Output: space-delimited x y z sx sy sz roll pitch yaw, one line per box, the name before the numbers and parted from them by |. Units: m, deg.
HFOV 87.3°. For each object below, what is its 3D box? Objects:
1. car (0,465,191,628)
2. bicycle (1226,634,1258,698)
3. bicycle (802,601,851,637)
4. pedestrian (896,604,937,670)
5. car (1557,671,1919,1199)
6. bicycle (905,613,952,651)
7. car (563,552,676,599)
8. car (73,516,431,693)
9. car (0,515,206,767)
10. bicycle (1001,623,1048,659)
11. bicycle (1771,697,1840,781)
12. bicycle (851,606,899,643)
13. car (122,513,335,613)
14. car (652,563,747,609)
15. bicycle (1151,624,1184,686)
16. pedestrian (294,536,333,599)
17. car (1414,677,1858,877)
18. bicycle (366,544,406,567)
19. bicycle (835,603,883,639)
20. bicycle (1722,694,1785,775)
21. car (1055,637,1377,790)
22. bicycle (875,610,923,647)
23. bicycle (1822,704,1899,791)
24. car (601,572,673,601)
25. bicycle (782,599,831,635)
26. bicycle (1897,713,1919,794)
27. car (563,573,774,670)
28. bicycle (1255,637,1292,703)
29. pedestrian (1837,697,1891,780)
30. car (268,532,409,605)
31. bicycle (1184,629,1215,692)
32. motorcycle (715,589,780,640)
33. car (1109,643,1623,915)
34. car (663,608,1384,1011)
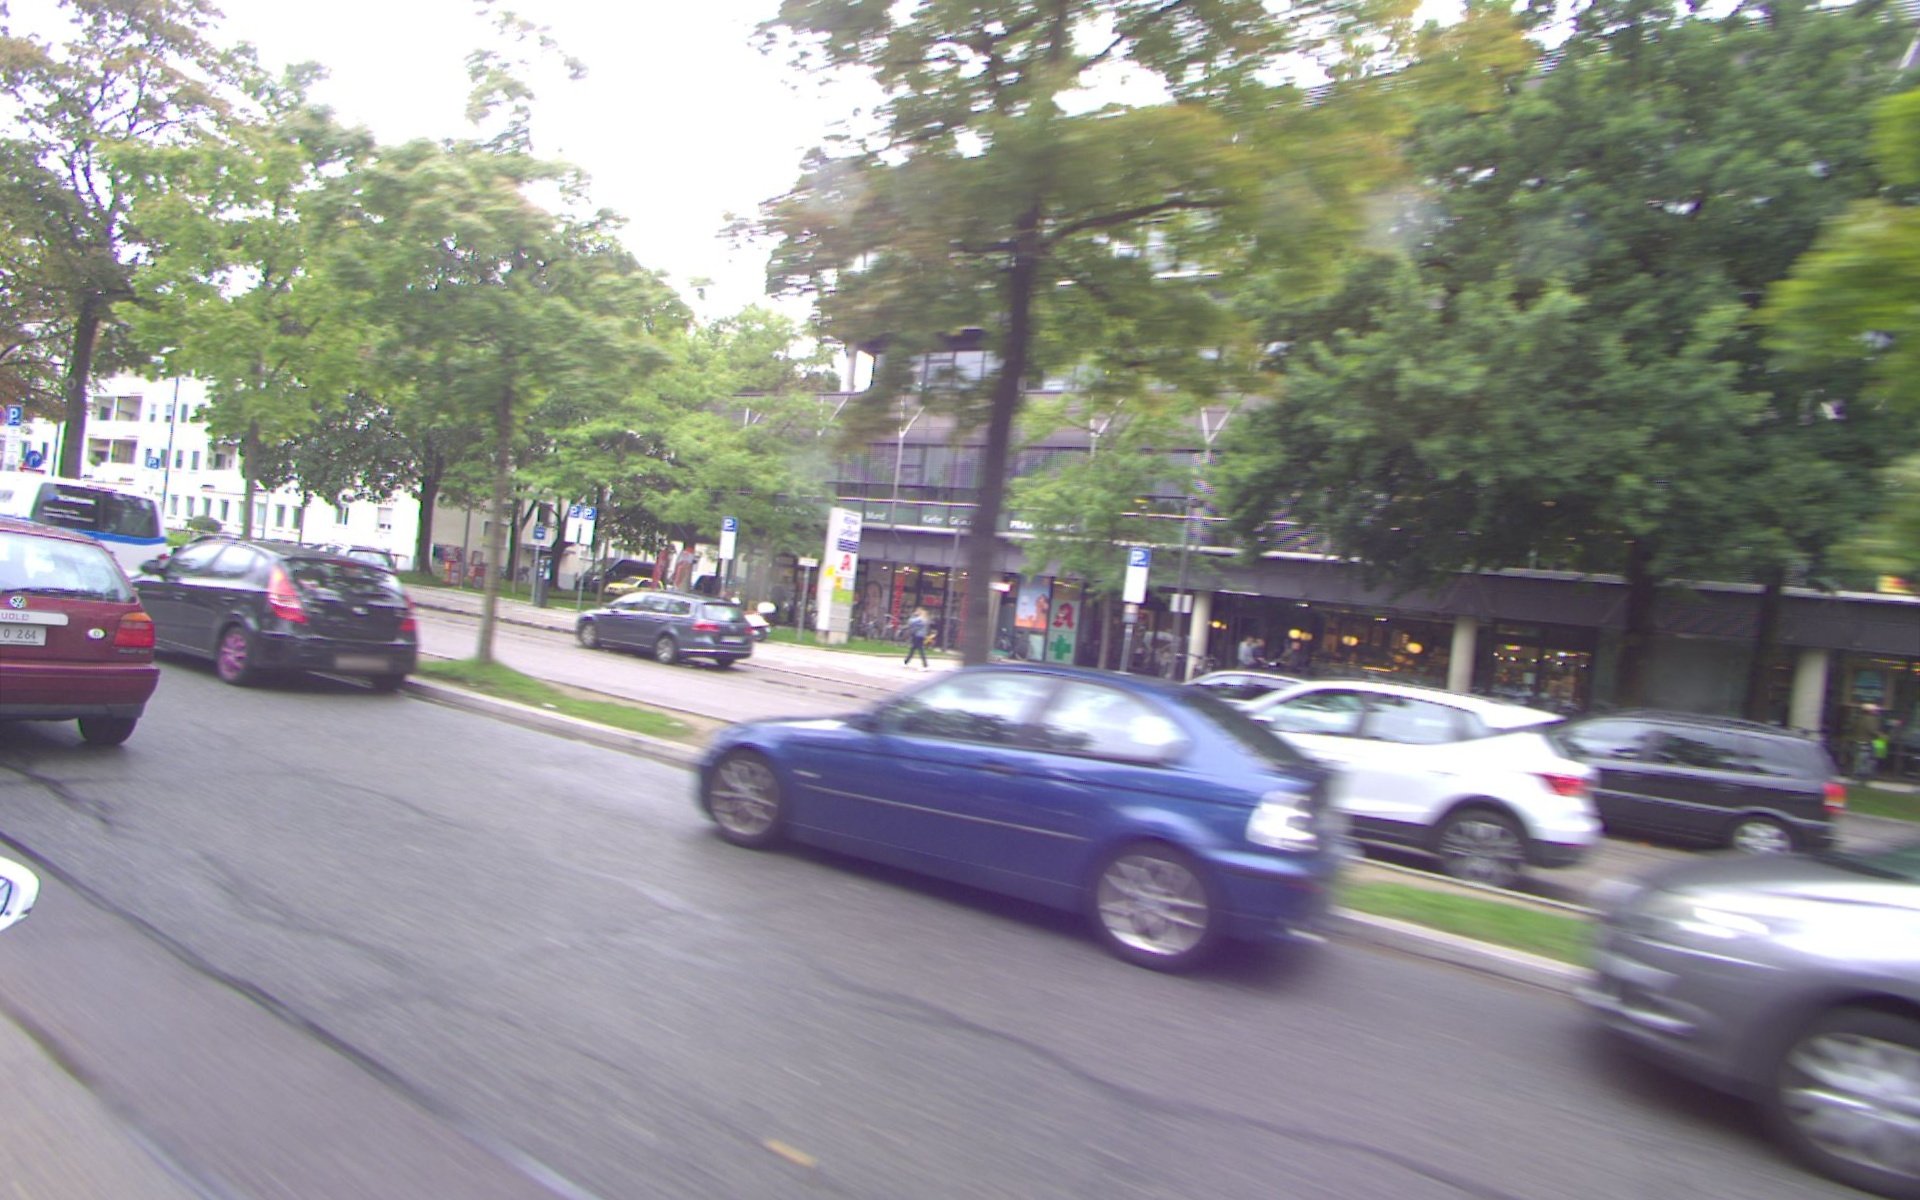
car | -13.891 -0.905 15.033 4.848 1.949 1.886 7 -2 29
bicycle | 7.832 1.823 28.013 0.637 1.642 2.316 7 -1 14
bicycle | -4.768 0.685 36.190 0.448 1.134 2.078 7 -1 31
pedestrian | -1.083 0.906 24.988 0.621 1.562 0.659 6 2 29
car | 4.741 1.428 3.526 4.390 1.659 1.687 7 -3 31
bicycle | -1.055 1.111 34.137 0.448 1.134 2.078 7 -1 31
car | -19.957 -1.387 59.285 2.306 2.023 6.098 7 0 31
car | -8.188 0.031 11.573 3.973 1.465 1.701 7 -2 29
car | -6.966 0.064 6.660 3.853 1.399 1.686 6 -2 30
bicycle | 2.326 1.476 36.239 1.527 1.134 0.455 7 0 28
bicycle | 18.441 2.992 21.987 0.638 1.642 2.311 7 -1 31
bicycle | -2.937 0.876 34.961 0.448 1.134 2.078 7 -1 31
car | -14.914 -0.777 20.441 4.613 1.448 1.731 6 -2 31
car | -14.860 -0.734 57.857 2.301 2.078 6.112 7 0 17
bicycle | 5.964 1.571 28.856 0.637 1.642 2.316 7 -1 14
pedestrian | -17.542 -0.884 27.299 0.654 1.613 0.746 6 1 -40
car | 8.555 2.136 13.225 4.425 1.654 1.824 7 0 31
bicycle | -29.079 -2.252 50.969 0.447 0.983 1.695 7 0 27
bicycle | -3.594 0.768 35.942 0.448 1.134 2.078 7 -1 31
bicycle | 17.695 2.963 22.473 0.638 1.642 2.311 7 -1 31
car | 4.024 1.682 15.963 4.521 1.550 1.825 8 1 27
bicycle | -2.090 0.998 34.705 0.448 1.134 2.078 7 -1 31
bicycle | 19.151 3.094 21.453 0.638 1.642 2.311 7 -1 31
car | -18.121 -0.754 56.642 1.558 1.216 3.745 8 0 28
bicycle | -5.572 0.617 36.671 0.448 1.134 2.078 7 -1 31
bicycle | 20.101 3.195 20.653 0.638 1.642 2.311 7 -1 31
car | -6.416 0.437 21.955 4.527 1.550 1.823 7 0 33
bicycle | 8.551 1.891 27.507 0.637 1.642 2.316 7 -1 14
pedestrian | 21.479 3.264 23.915 0.656 1.829 0.727 6 2 31
car | -18.111 -0.935 29.274 4.130 1.654 1.823 7 0 34
bicycle | 6.797 1.699 28.492 0.637 1.642 2.316 7 -1 14
motorcycle | -5.999 0.409 28.392 1.915 1.247 0.472 6 3 31
car | 3.509 1.437 9.049 3.810 1.536 1.655 7 -2 28
car | 0.299 1.031 6.242 4.012 1.391 1.686 7 -2 30
